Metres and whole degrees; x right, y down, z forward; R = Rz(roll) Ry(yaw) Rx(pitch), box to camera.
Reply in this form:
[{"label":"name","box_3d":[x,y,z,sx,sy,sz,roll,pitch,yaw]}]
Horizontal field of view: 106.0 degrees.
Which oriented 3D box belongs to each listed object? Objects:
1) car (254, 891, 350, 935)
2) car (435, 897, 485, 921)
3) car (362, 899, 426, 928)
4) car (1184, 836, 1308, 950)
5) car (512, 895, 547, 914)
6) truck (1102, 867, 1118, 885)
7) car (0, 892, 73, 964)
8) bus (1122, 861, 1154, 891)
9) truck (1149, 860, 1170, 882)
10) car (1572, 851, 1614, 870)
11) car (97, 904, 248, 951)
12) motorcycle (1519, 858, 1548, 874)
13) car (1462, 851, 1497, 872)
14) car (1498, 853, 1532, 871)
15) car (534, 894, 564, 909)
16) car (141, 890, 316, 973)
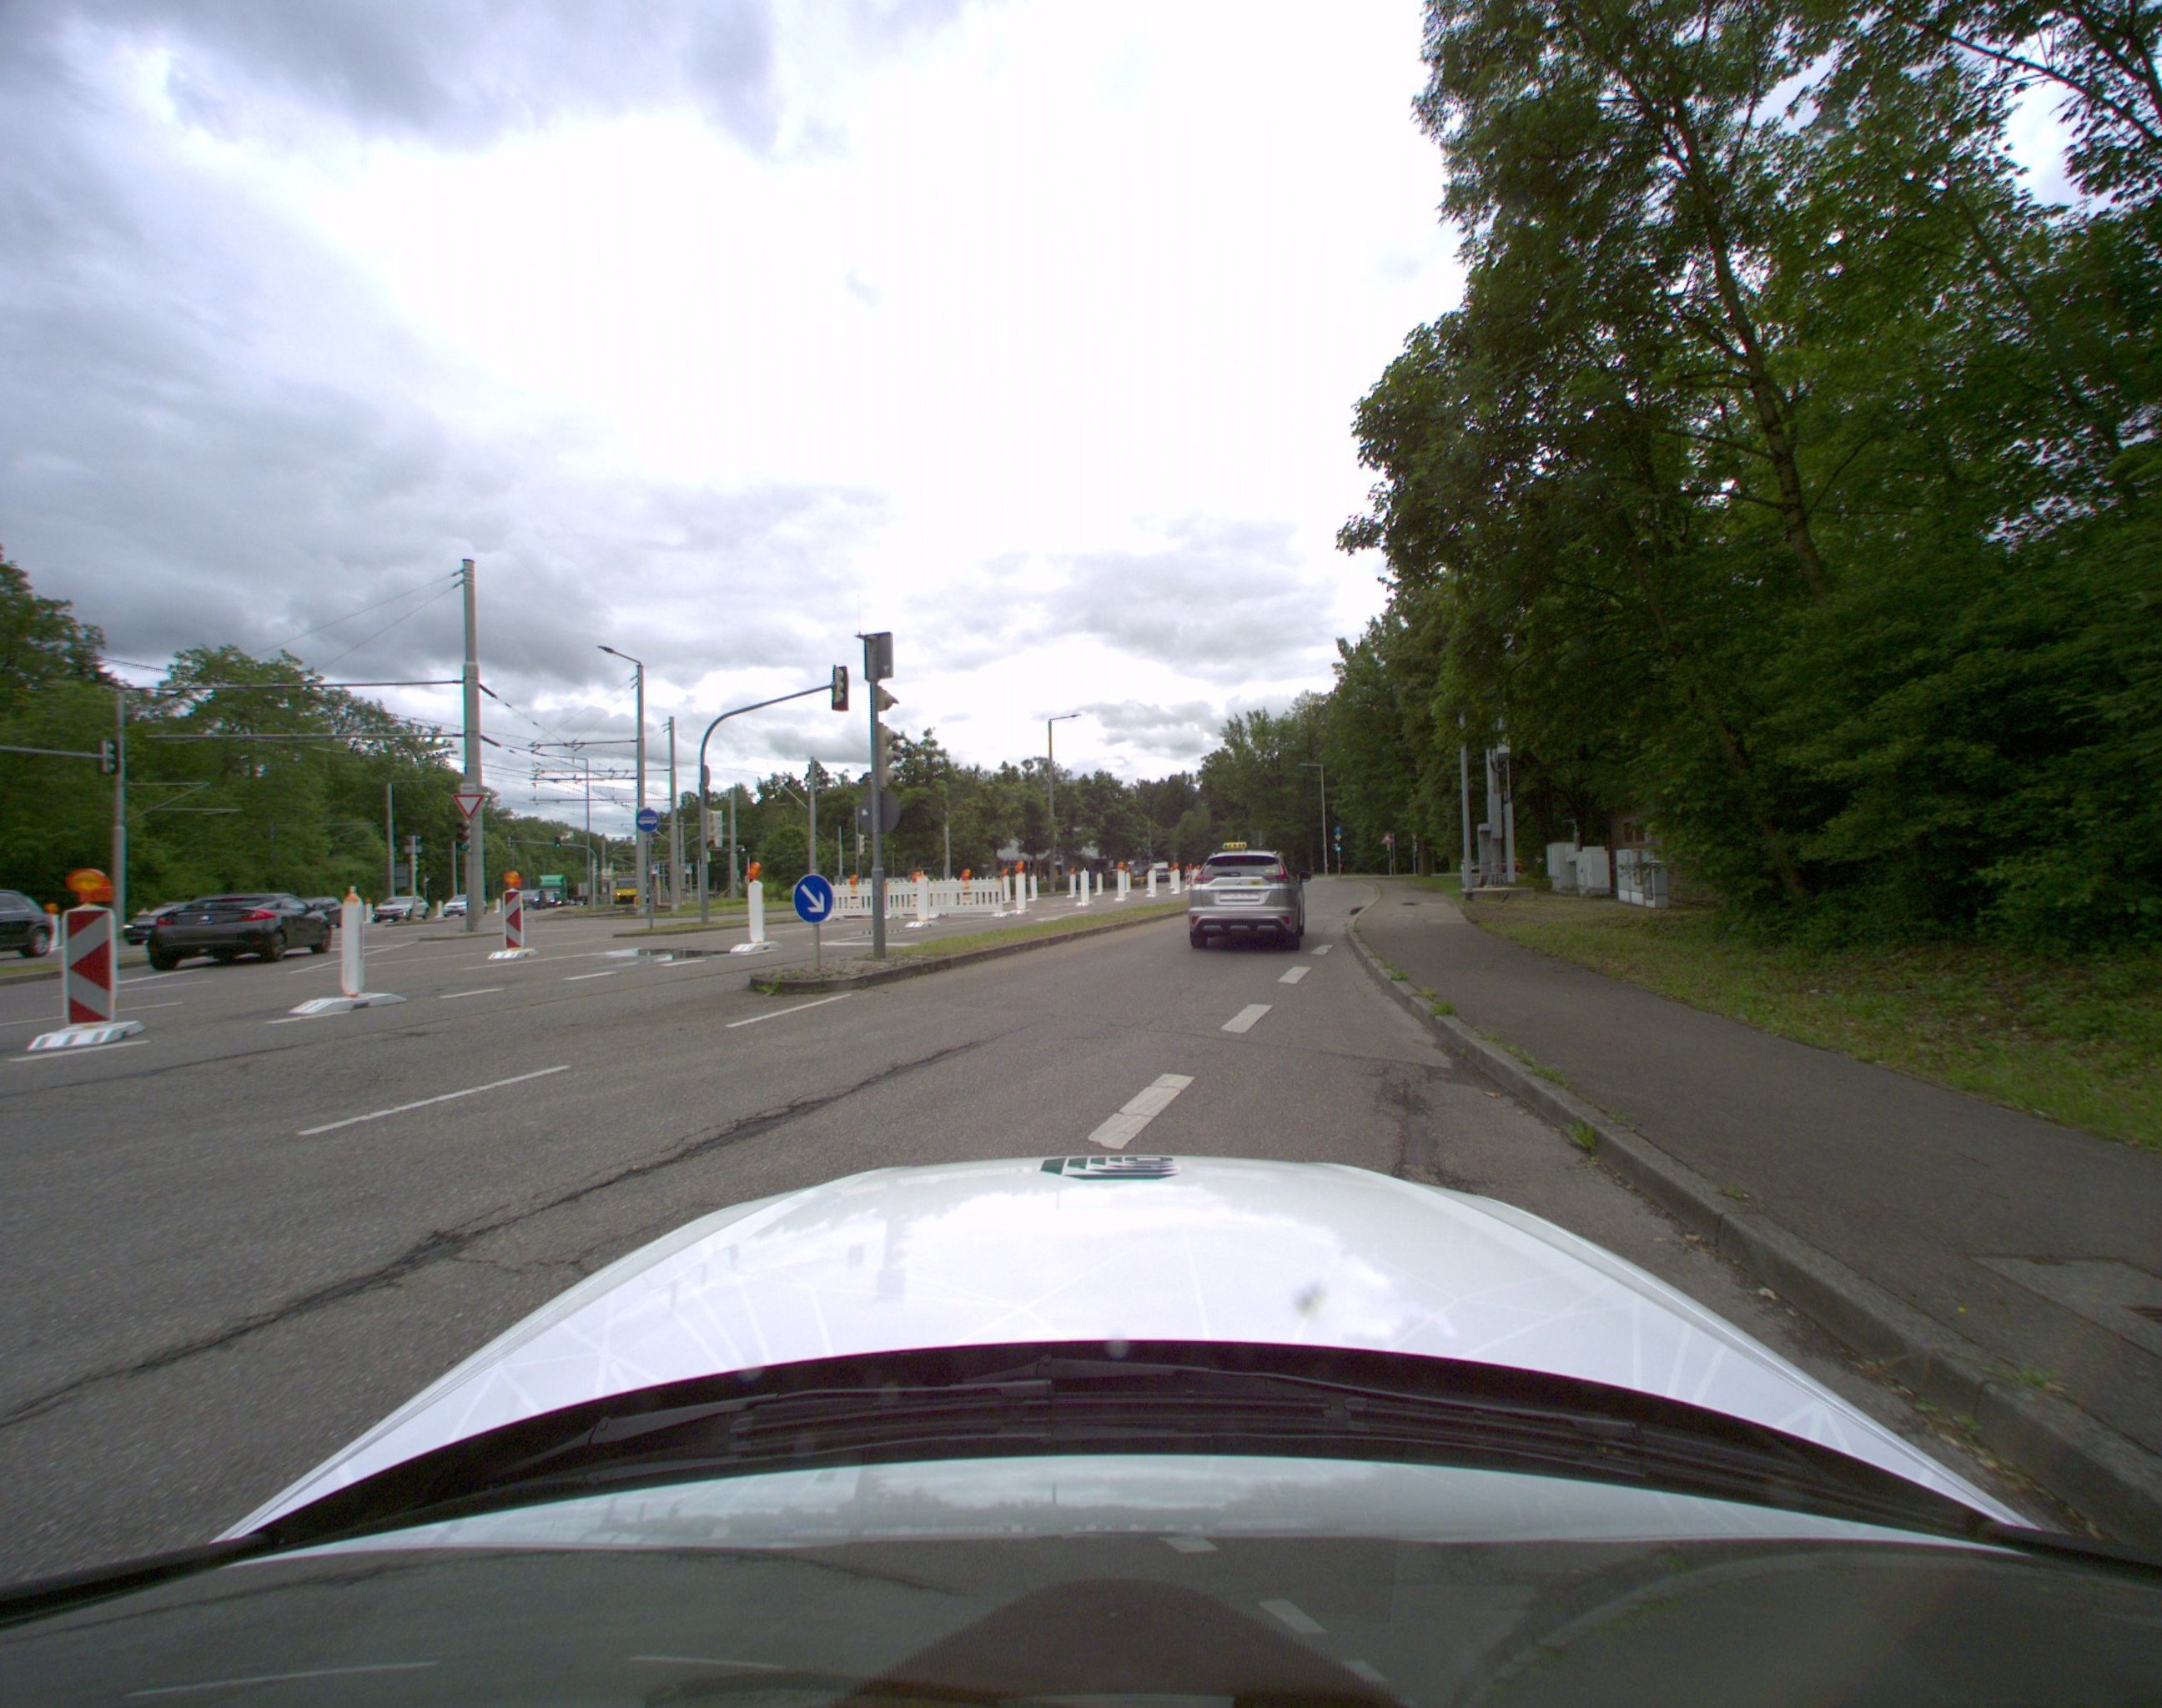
[{"label":"car","box_3d":[-37.604,2.785,39.461,1.972,1.845,4.650,-2,-1,-25]},{"label":"car","box_3d":[-45.179,3.943,59.334,1.972,1.541,4.358,-2,-1,-25]},{"label":"car","box_3d":[-42.619,3.655,50.654,1.972,1.607,4.273,-2,-1,-25]},{"label":"car","box_3d":[3.050,0.669,14.518,1.760,1.748,3.797,-1,-2,17]},{"label":"car","box_3d":[-50.791,4.619,75.028,1.972,1.540,4.273,-2,-1,-25]},{"label":"truck","box_3d":[5.899,4.532,166.985,2.479,3.287,8.505,-2,-3,-4]},{"label":"car","box_3d":[-27.342,1.849,19.708,1.973,1.750,4.801,-2,-1,-28]},{"label":"bus","box_3d":[7.258,2.826,105.668,2.814,3.603,12.793,-2,-1,-2]},{"label":"truck","box_3d":[12.604,2.764,131.152,2.475,3.287,8.520,-2,-2,1]},{"label":"car","box_3d":[38.553,0.518,61.416,1.544,1.326,4.016,-2,-1,16]},{"label":"car","box_3d":[-32.872,2.594,29.670,1.972,1.361,4.650,-2,-1,-25]},{"label":"motorcycle","box_3d":[32.489,0.847,58.489,1.809,1.057,0.619,-2,-1,30]},{"label":"car","box_3d":[32.036,0.593,65.442,1.816,1.536,4.025,-3,-1,36]},{"label":"car","box_3d":[34.116,0.602,63.994,1.816,1.326,4.025,-3,-1,36]},{"label":"car","box_3d":[-55.349,4.932,84.809,1.972,1.361,4.273,-2,-1,-25]},{"label":"car","box_3d":[-16.756,1.466,16.203,1.788,1.361,3.437,-2,-2,-36]}]
